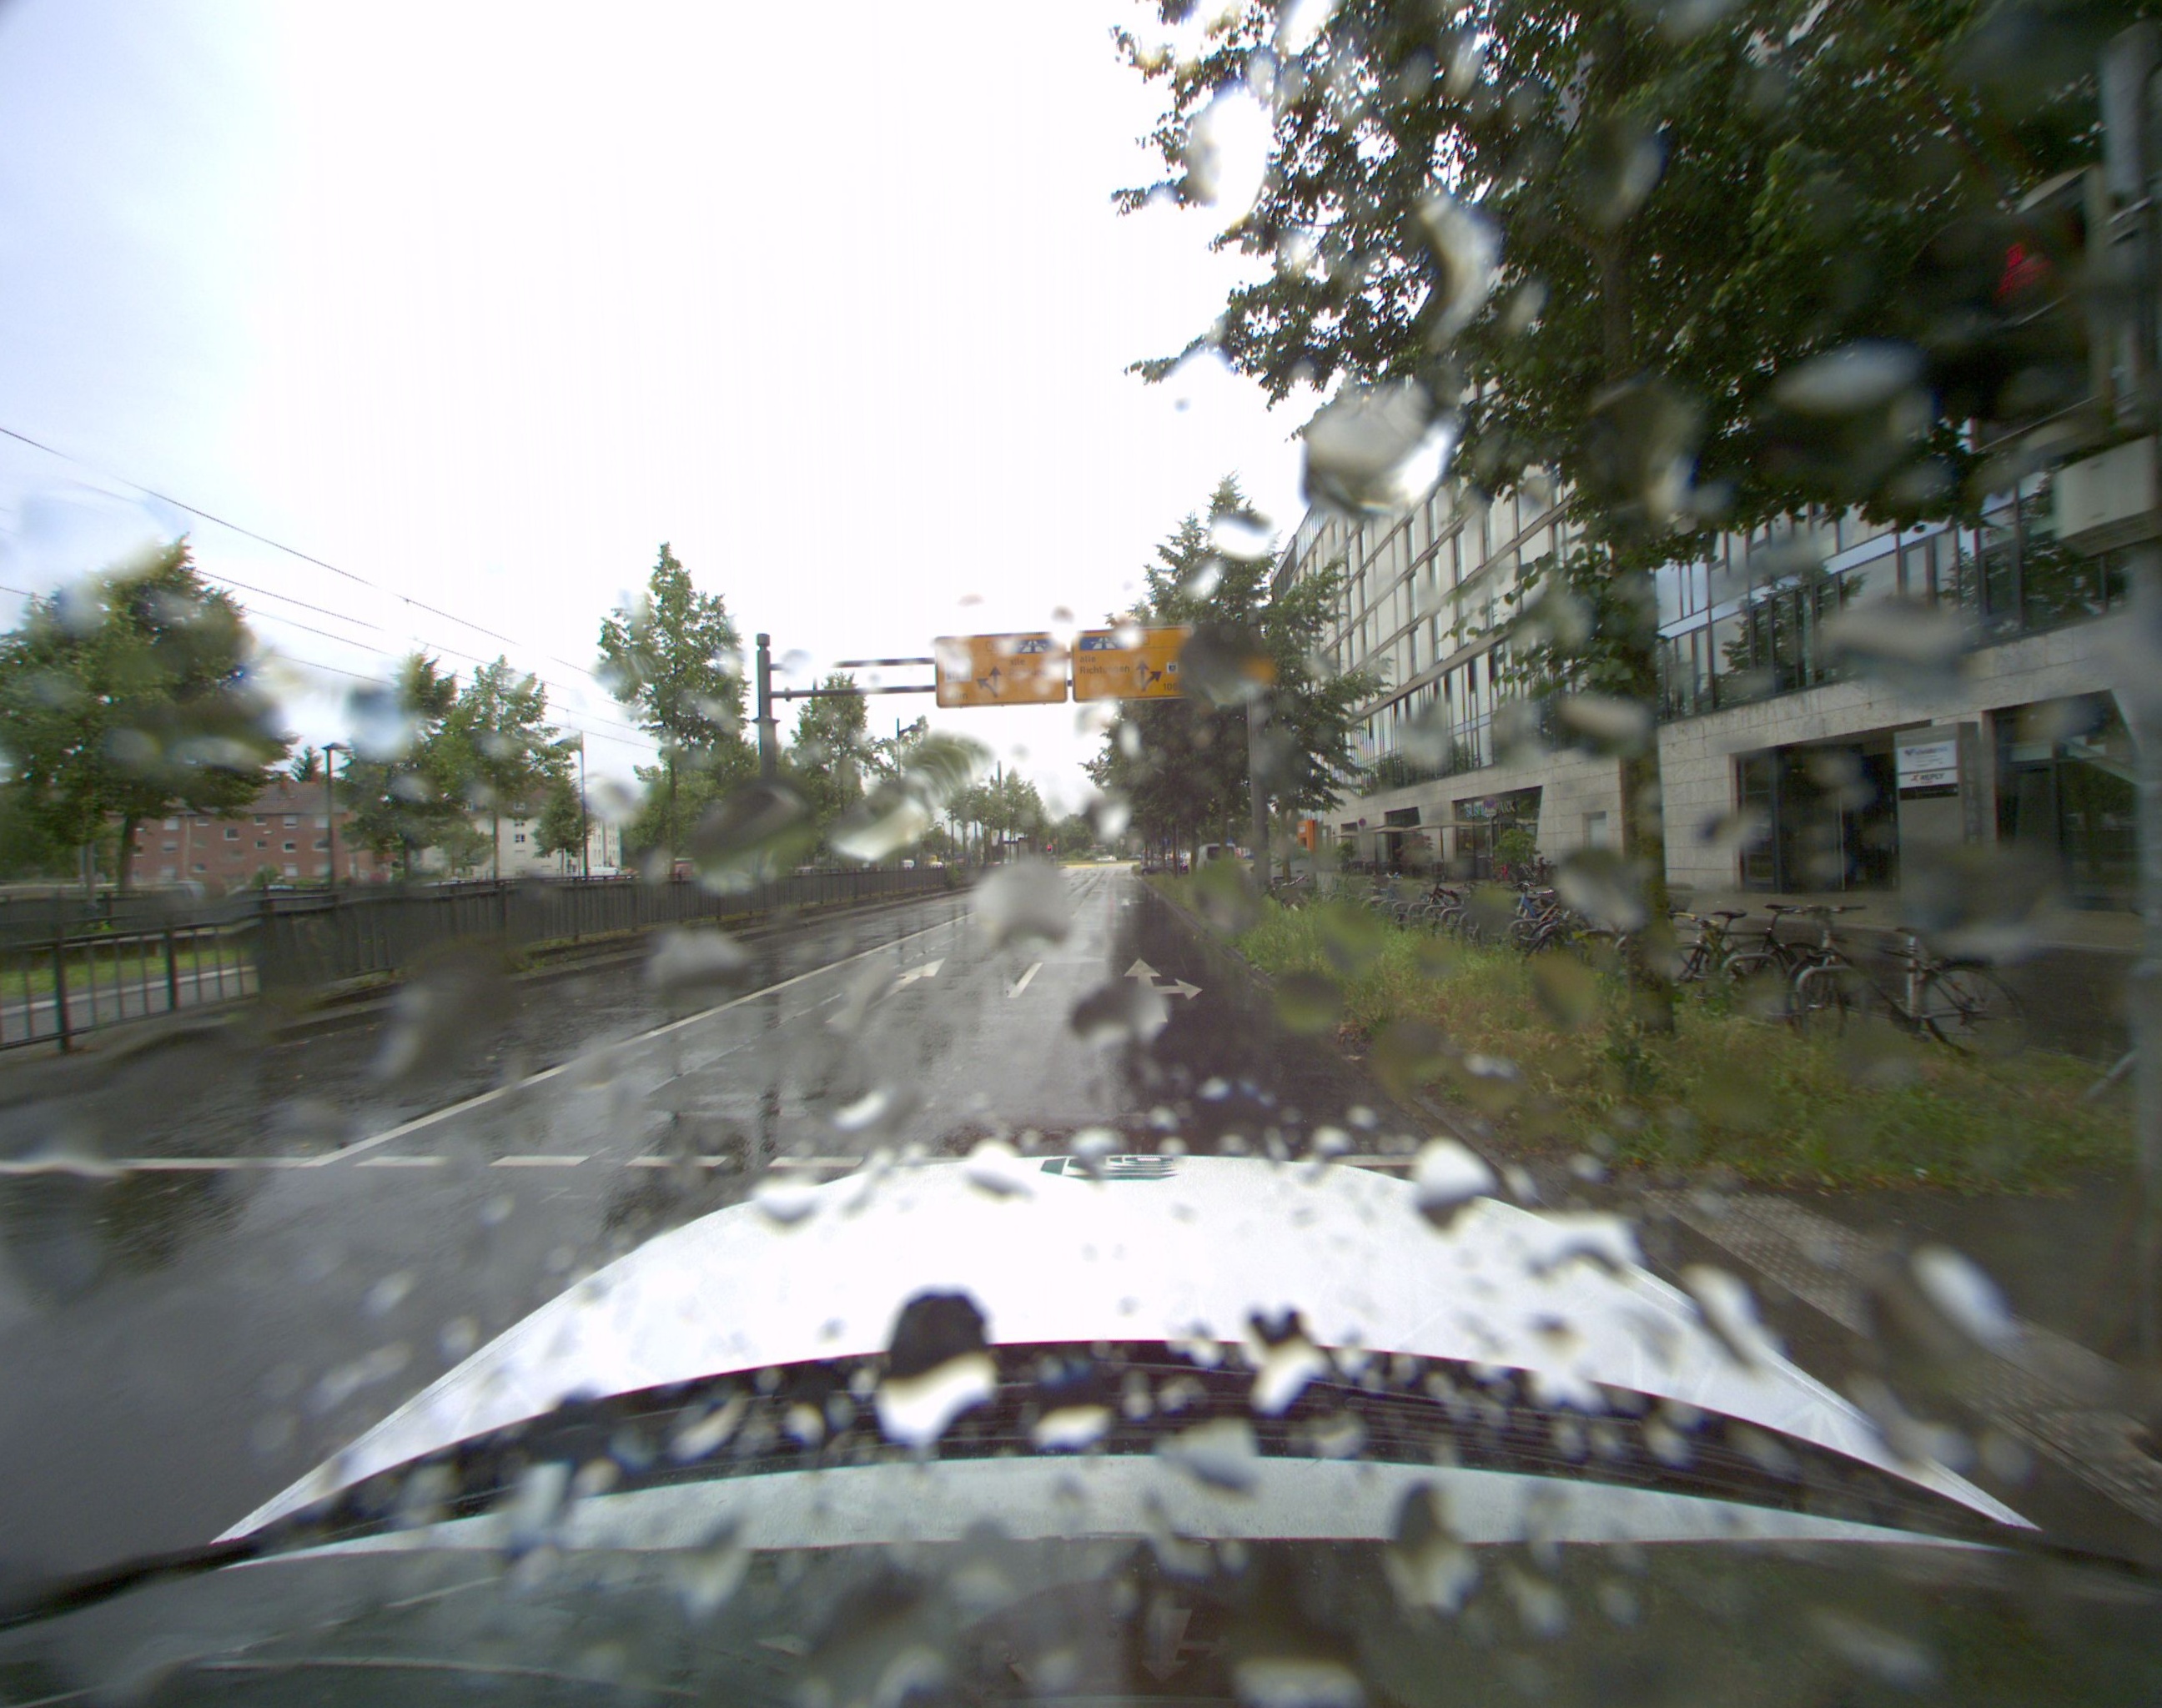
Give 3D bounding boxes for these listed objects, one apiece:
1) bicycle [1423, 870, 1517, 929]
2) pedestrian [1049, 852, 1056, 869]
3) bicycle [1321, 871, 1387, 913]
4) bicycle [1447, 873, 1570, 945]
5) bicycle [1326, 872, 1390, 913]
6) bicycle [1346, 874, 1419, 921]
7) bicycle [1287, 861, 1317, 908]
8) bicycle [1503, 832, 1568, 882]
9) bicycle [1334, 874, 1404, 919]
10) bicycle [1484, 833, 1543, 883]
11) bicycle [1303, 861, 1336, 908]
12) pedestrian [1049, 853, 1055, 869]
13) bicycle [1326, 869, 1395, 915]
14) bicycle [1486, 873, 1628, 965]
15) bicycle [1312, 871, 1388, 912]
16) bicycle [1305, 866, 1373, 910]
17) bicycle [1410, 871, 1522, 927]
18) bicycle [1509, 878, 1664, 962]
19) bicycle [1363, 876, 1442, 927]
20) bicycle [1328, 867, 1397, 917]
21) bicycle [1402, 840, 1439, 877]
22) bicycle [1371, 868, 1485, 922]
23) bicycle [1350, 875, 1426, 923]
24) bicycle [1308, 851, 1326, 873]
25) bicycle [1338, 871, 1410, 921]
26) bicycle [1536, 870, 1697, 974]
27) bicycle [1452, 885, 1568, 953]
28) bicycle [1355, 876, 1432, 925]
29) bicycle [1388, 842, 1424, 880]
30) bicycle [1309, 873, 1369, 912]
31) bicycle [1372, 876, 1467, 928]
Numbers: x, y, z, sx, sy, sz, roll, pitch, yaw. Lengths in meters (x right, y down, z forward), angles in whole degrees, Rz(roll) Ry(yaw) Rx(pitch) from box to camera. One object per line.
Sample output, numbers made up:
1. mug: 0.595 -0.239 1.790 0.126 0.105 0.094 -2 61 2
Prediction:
1. bicycle: 5.962 0.692 12.497 1.284 0.849 0.275 -2 -1 1
2. pedestrian: -3.527 0.790 99.376 0.693 2.013 0.657 -2 2 9
3. bicycle: 5.834 0.813 17.424 1.284 0.849 0.275 -2 -1 1
4. bicycle: 6.197 0.797 11.825 1.609 1.022 0.275 0 -1 1
5. bicycle: 6.027 0.840 17.745 1.284 0.849 0.275 -2 -1 1
6. bicycle: 5.821 0.839 15.744 1.284 0.849 0.275 -2 -1 1
7. bicycle: 4.230 0.568 15.637 0.273 0.849 1.293 -2 0 3
8. bicycle: 16.944 0.073 30.490 0.769 1.722 3.122 -2 2 2
9. bicycle: 5.799 0.847 16.426 1.284 0.849 0.275 -2 -1 1
10. bicycle: 16.165 0.096 30.540 0.642 1.722 3.122 -2 2 2
11. bicycle: 4.562 0.559 15.631 0.273 0.849 1.293 -2 0 3
12. pedestrian: -3.540 0.854 100.285 0.695 2.013 0.655 -2 2 -1
13. bicycle: 5.850 0.798 17.041 1.320 0.910 0.275 -2 -1 1
14. bicycle: 6.066 0.815 10.396 1.607 1.096 0.297 -2 -1 -1
15. bicycle: 6.068 0.847 18.416 1.589 0.849 0.311 -2 -1 1
16. bicycle: 6.063 0.792 19.173 1.455 0.980 0.311 -2 -1 1
17. bicycle: 6.038 0.706 12.790 1.609 0.849 0.275 0 -1 1
18. bicycle: 5.994 0.768 9.665 1.703 0.948 0.313 0 -1 -5
19. bicycle: 5.797 0.850 14.690 1.284 0.849 0.275 -2 -1 1
20. bicycle: 5.776 0.776 16.733 1.284 0.989 0.275 -2 -1 1
21. bicycle: 16.898 0.192 40.598 0.642 1.722 3.122 -2 2 2
22. bicycle: 5.963 0.703 14.006 1.810 0.849 0.275 -2 -1 1
23. bicycle: 5.796 0.851 15.393 1.284 0.849 0.355 -2 -1 1
24. bicycle: 17.963 0.602 62.067 0.663 1.534 2.766 -2 2 3
25. bicycle: 5.776 0.823 16.078 1.284 0.918 0.275 -2 -1 1
26. bicycle: 6.130 0.762 9.332 1.703 1.103 0.283 -2 -1 -5
27. bicycle: 5.817 0.880 11.056 1.400 0.849 0.275 -2 -1 -1
28. bicycle: 5.763 0.853 15.013 1.284 0.849 0.275 -2 -1 1
29. bicycle: 16.152 0.309 40.560 0.642 1.722 3.122 -2 2 2
30. bicycle: 5.964 0.884 18.818 1.284 0.849 0.275 -2 0 1
31. bicycle: 5.953 0.844 14.340 1.517 0.849 0.277 -2 -1 1
